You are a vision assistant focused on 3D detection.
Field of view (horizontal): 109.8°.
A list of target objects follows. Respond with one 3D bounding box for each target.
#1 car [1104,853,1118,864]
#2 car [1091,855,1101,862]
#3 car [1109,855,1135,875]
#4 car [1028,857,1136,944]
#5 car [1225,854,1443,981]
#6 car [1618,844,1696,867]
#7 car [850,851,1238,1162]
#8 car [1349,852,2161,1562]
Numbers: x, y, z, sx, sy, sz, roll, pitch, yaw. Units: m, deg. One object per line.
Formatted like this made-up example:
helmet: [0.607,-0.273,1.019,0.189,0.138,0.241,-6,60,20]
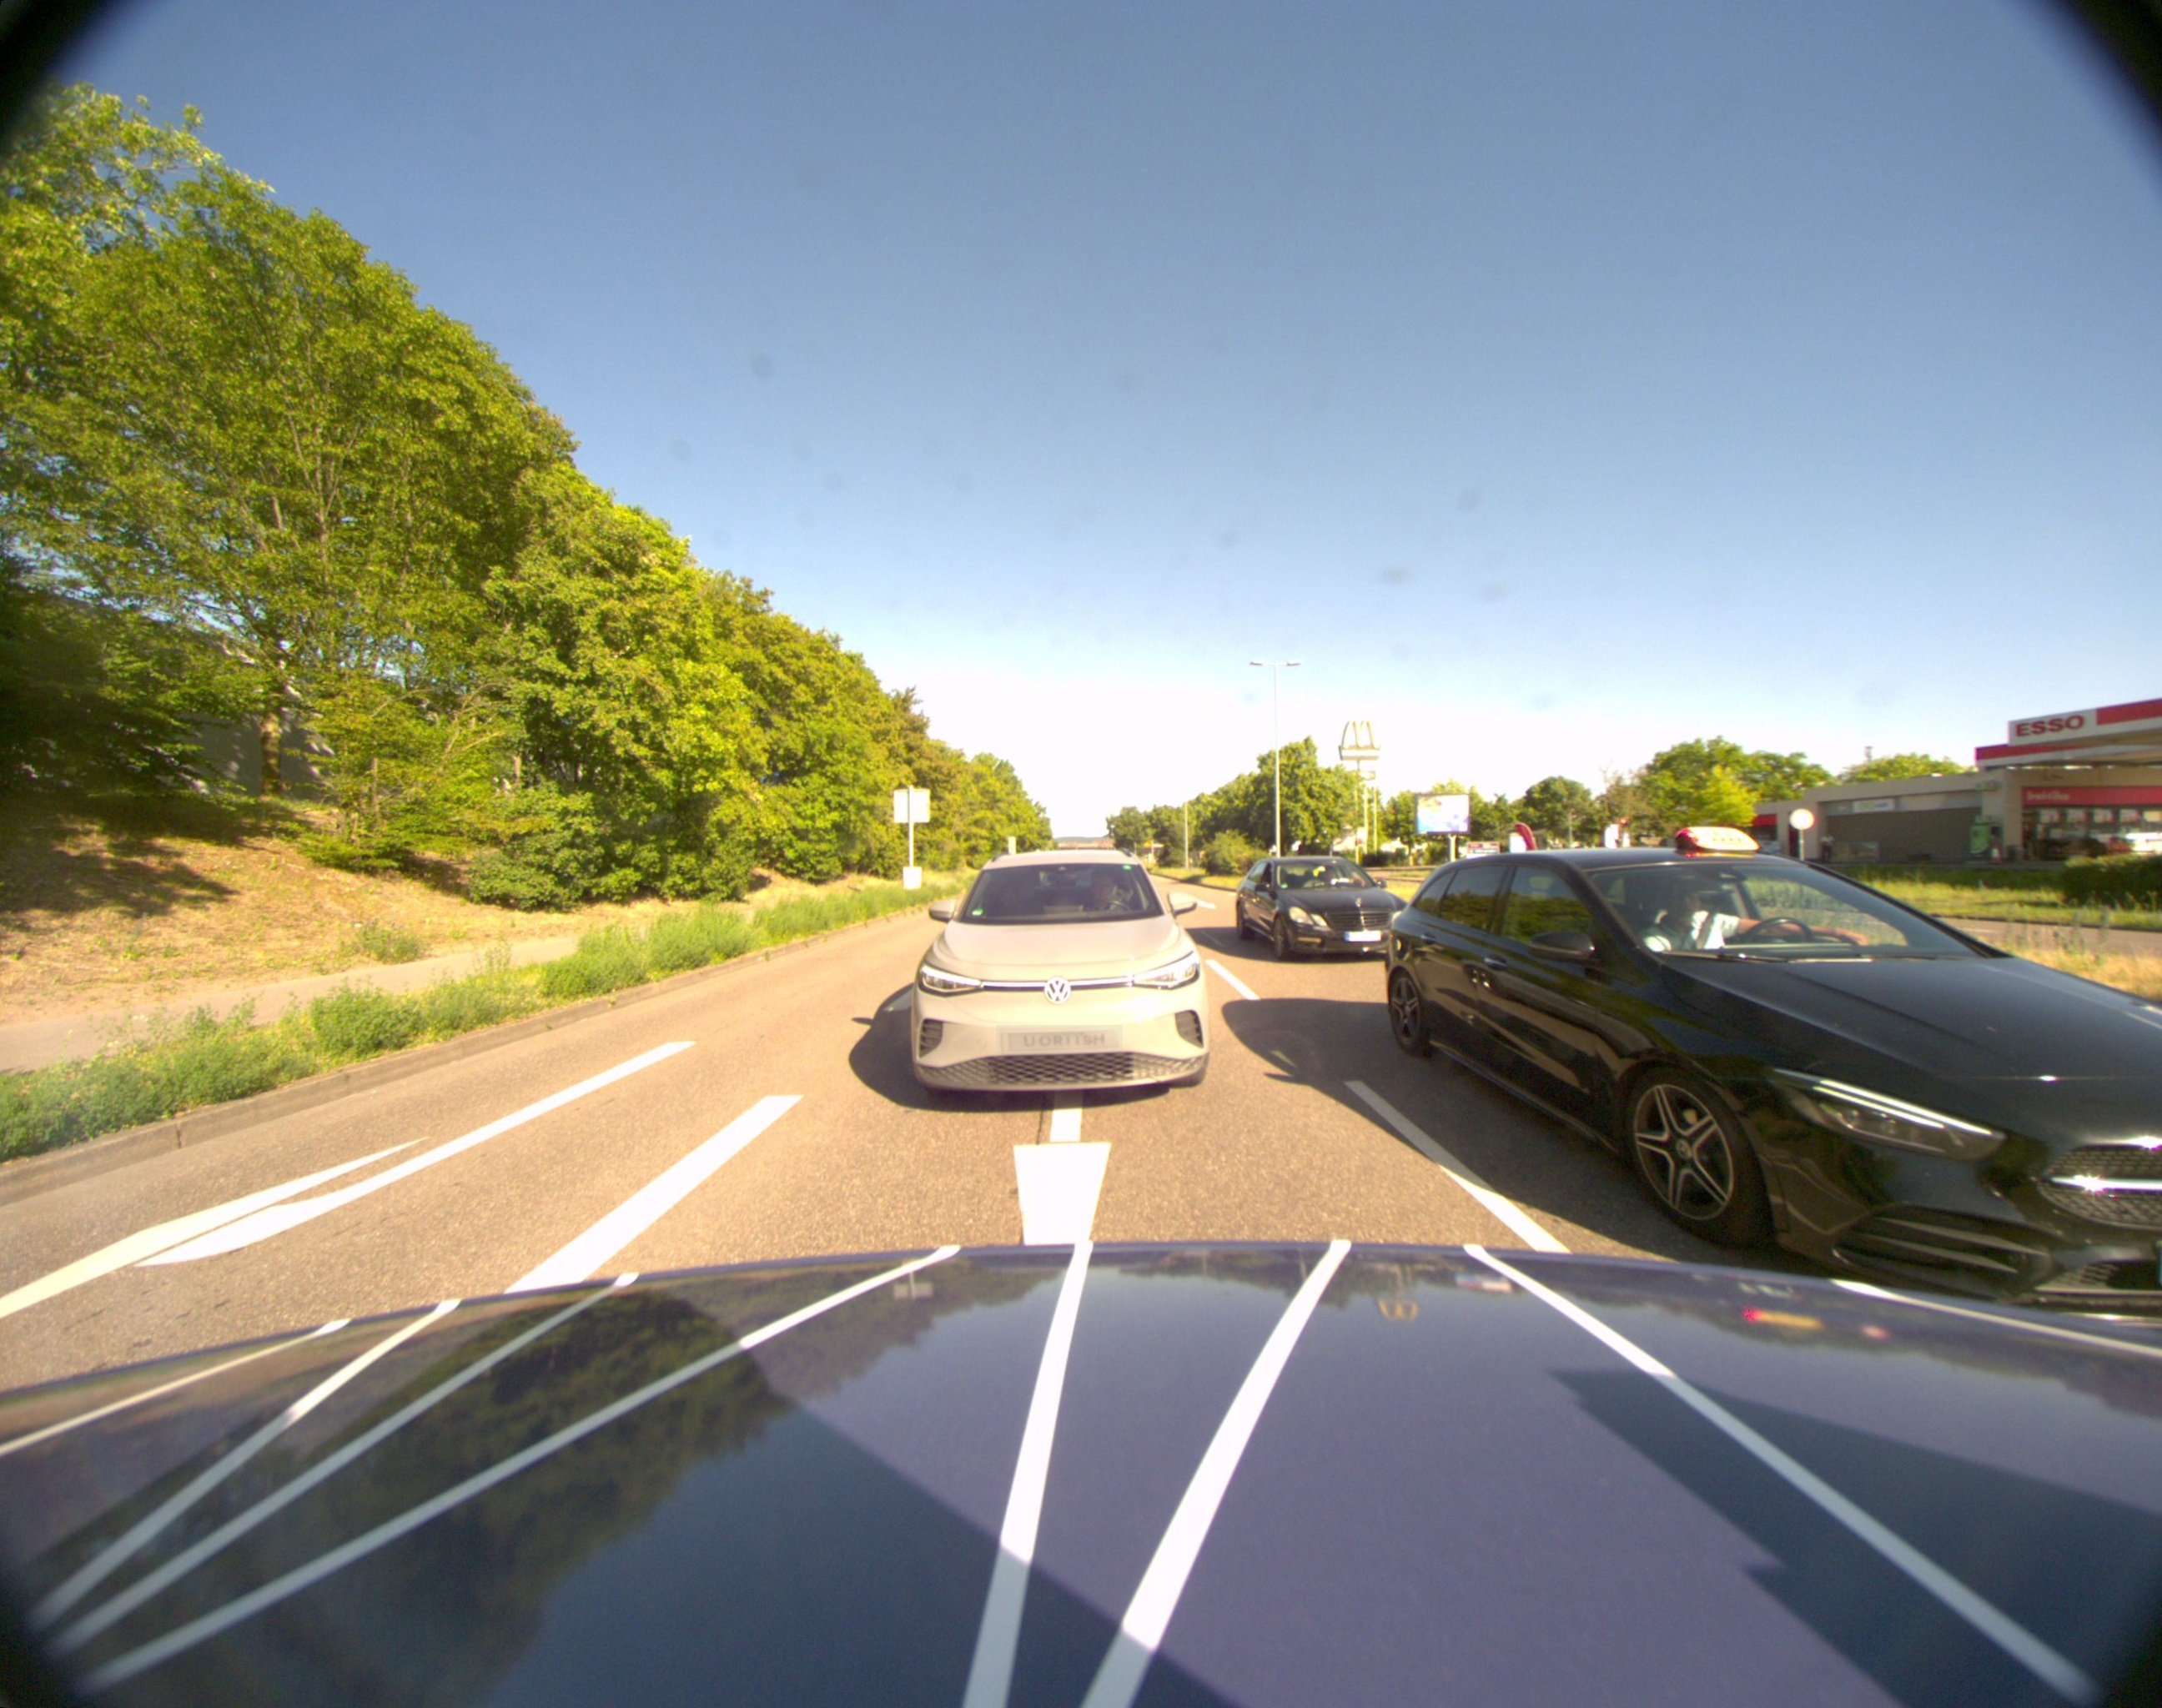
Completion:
car: [4.307,0.664,110.850,1.998,1.433,4.000,-1,0,1]
car: [3.084,0.848,155.409,1.998,1.433,4.000,-1,0,1]
car: [3.320,0.865,62.740,1.998,1.434,4.000,-2,1,2]
car: [0.041,0.908,16.838,2.036,1.601,4.098,-2,0,1]
car: [3.673,0.817,11.971,1.953,1.501,4.462,-2,1,1]
car: [37.090,0.096,49.060,1.998,1.397,4.000,-1,0,0]
car: [-0.172,0.826,6.138,2.025,1.601,4.098,-2,0,1]
car: [3.150,0.812,4.041,1.788,1.592,4.583,-2,0,0]
